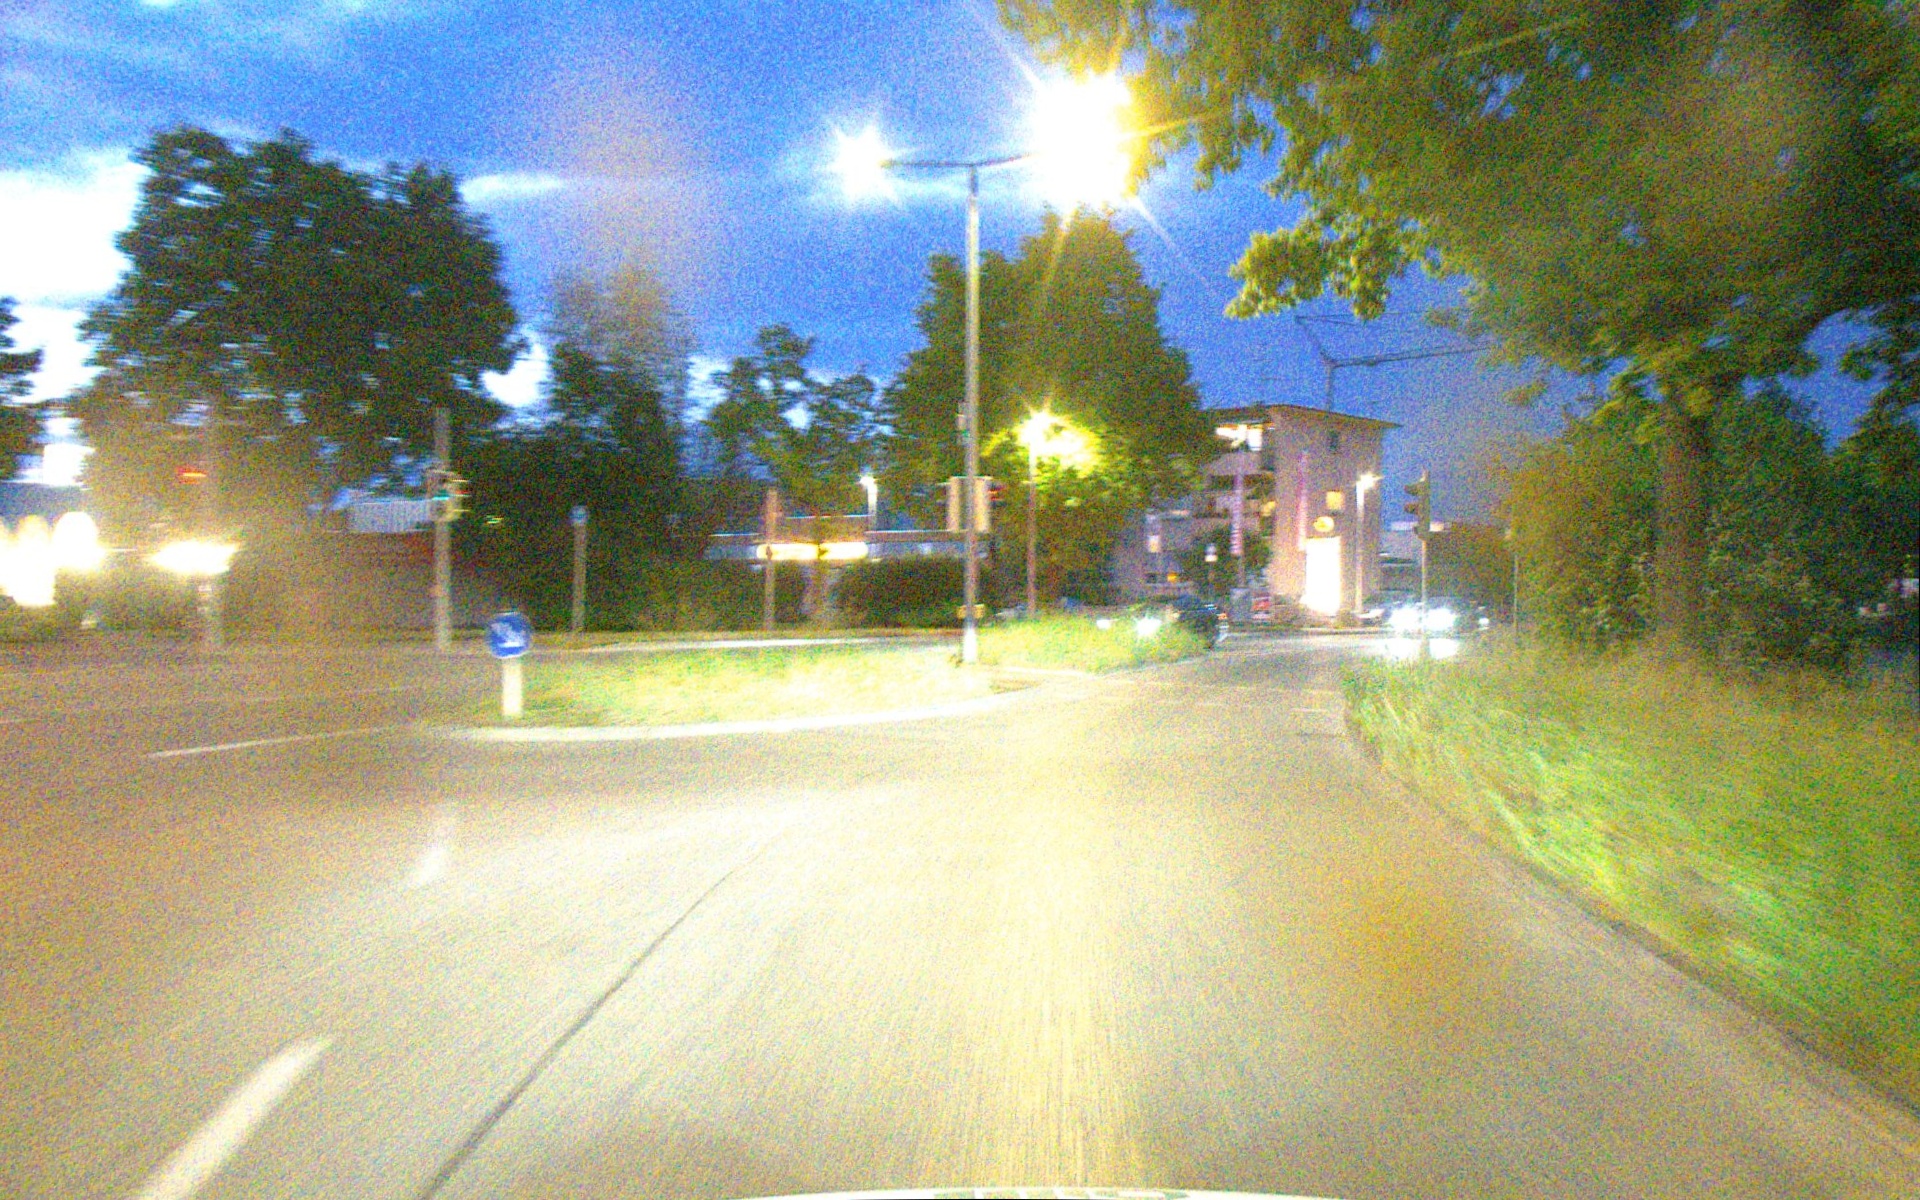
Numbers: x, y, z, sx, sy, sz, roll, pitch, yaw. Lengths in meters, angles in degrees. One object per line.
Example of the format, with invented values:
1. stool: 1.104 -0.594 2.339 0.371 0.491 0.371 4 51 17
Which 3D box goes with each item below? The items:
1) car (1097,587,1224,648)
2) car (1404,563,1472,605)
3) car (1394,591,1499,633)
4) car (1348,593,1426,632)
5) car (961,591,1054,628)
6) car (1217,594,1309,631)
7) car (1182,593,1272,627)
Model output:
1. car: 5.290 0.432 43.136 1.726 1.471 4.520 1 0 28
2. car: 25.298 -0.859 87.469 1.963 2.048 3.980 3 4 39
3. car: 17.469 0.425 59.238 1.735 1.427 4.556 1 1 43
4. car: 19.077 0.543 73.773 1.727 1.635 4.431 1 1 38
5. car: 1.893 0.385 66.089 3.439 1.383 1.493 -1 -2 32
6. car: 12.298 0.489 66.985 3.654 1.445 1.531 0 1 -34
7. car: 11.111 0.402 68.737 3.654 1.334 1.532 0 1 -34
